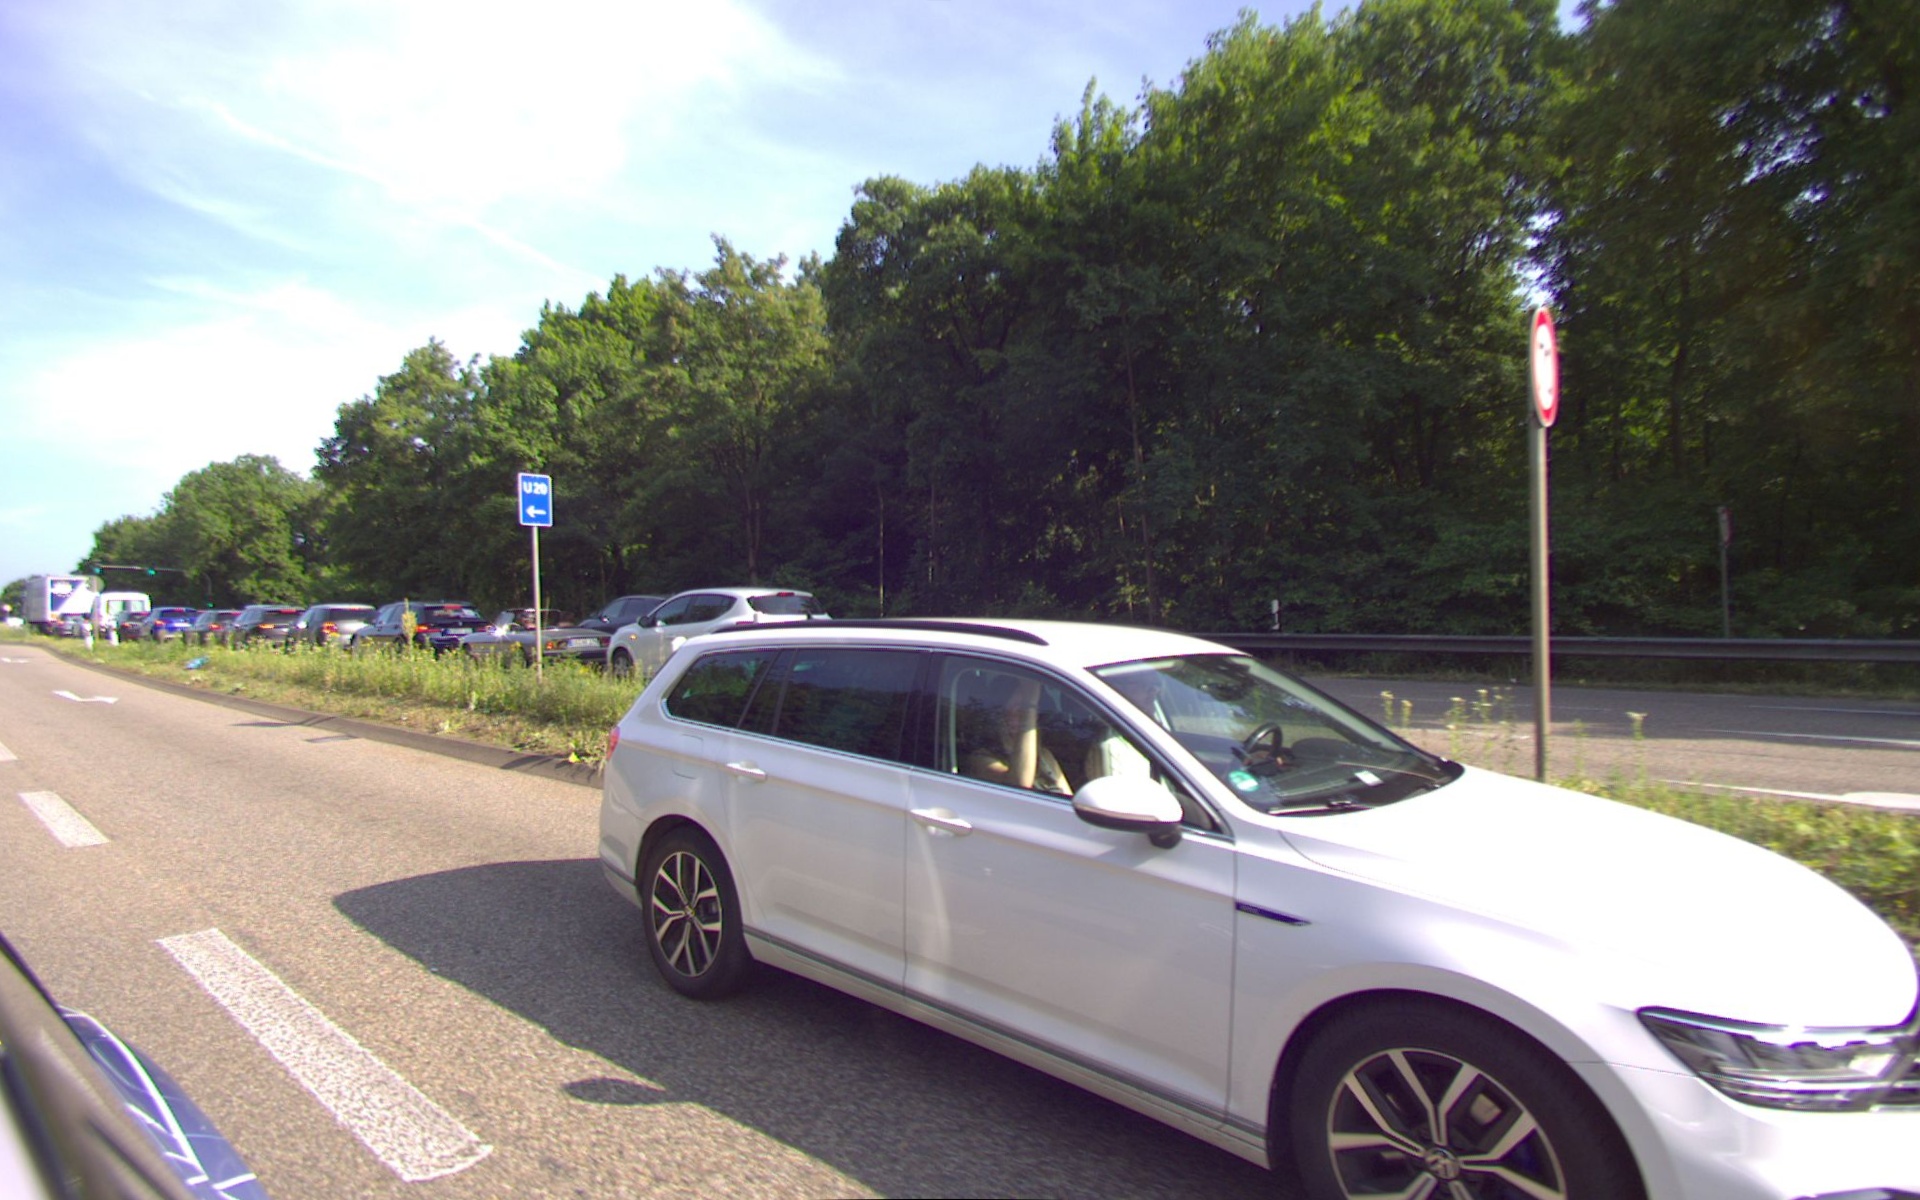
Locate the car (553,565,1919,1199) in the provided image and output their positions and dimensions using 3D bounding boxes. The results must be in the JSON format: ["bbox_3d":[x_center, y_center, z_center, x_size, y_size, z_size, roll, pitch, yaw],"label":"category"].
[{"bbox_3d":[0.672,0.756,3.494,4.832,1.533,1.850,-2,1,42],"label":"car"}]

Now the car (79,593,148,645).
[{"bbox_3d":[-43.726,1.012,52.220,6.164,2.553,2.052,-2,-1,43],"label":"car"}]

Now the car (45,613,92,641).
[{"bbox_3d":[-55.036,1.653,62.438,4.369,1.644,1.682,-2,-1,42],"label":"car"}]

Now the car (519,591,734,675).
[{"bbox_3d":[-7.946,0.757,23.669,6.225,1.721,2.080,-2,-1,43],"label":"car"}]

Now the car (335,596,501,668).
[{"bbox_3d":[-12.281,0.706,22.736,5.193,1.434,1.747,-2,-1,43],"label":"car"}]

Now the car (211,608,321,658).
[{"bbox_3d":[-21.608,1.007,31.417,5.193,1.434,1.752,-2,-1,43],"label":"car"}]

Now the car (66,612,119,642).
[{"bbox_3d":[-49.273,1.542,57.430,4.746,1.644,1.682,-2,-1,42],"label":"car"}]

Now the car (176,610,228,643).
[{"bbox_3d":[-41.201,1.461,54.992,3.574,1.719,1.607,-2,-3,43],"label":"car"}]

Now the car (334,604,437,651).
[{"bbox_3d":[-19.656,0.933,34.534,4.416,1.472,1.847,-2,-1,43],"label":"car"}]

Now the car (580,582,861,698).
[{"bbox_3d":[-3.592,0.546,14.659,4.416,1.428,1.847,-2,-1,43],"label":"car"}]

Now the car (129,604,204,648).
[{"bbox_3d":[-32.819,1.077,41.831,4.801,1.682,1.752,-2,-1,43],"label":"car"}]

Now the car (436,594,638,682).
[{"bbox_3d":[-7.810,0.668,18.477,4.434,1.428,1.747,-2,-1,43],"label":"car"}]

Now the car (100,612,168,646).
[{"bbox_3d":[-37.882,1.326,46.366,5.186,1.467,1.741,-2,-1,43],"label":"car"}]

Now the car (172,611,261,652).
[{"bbox_3d":[-26.848,1.128,36.475,4.843,1.390,1.752,-2,-1,43],"label":"car"}]

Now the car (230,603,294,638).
[{"bbox_3d":[-41.038,1.256,59.462,5.102,1.950,1.989,-2,-4,43],"label":"car"}]

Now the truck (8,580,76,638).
[{"bbox_3d":[-67.958,0.675,74.870,6.719,4.027,2.861,-2,1,42],"label":"truck"}]

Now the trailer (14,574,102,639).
[{"bbox_3d":[-62.381,0.552,69.813,14.010,4.025,2.960,-2,1,42],"label":"trailer"}]

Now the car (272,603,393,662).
[{"bbox_3d":[-16.539,0.841,26.591,4.212,1.434,1.688,-2,-1,43],"label":"car"}]
